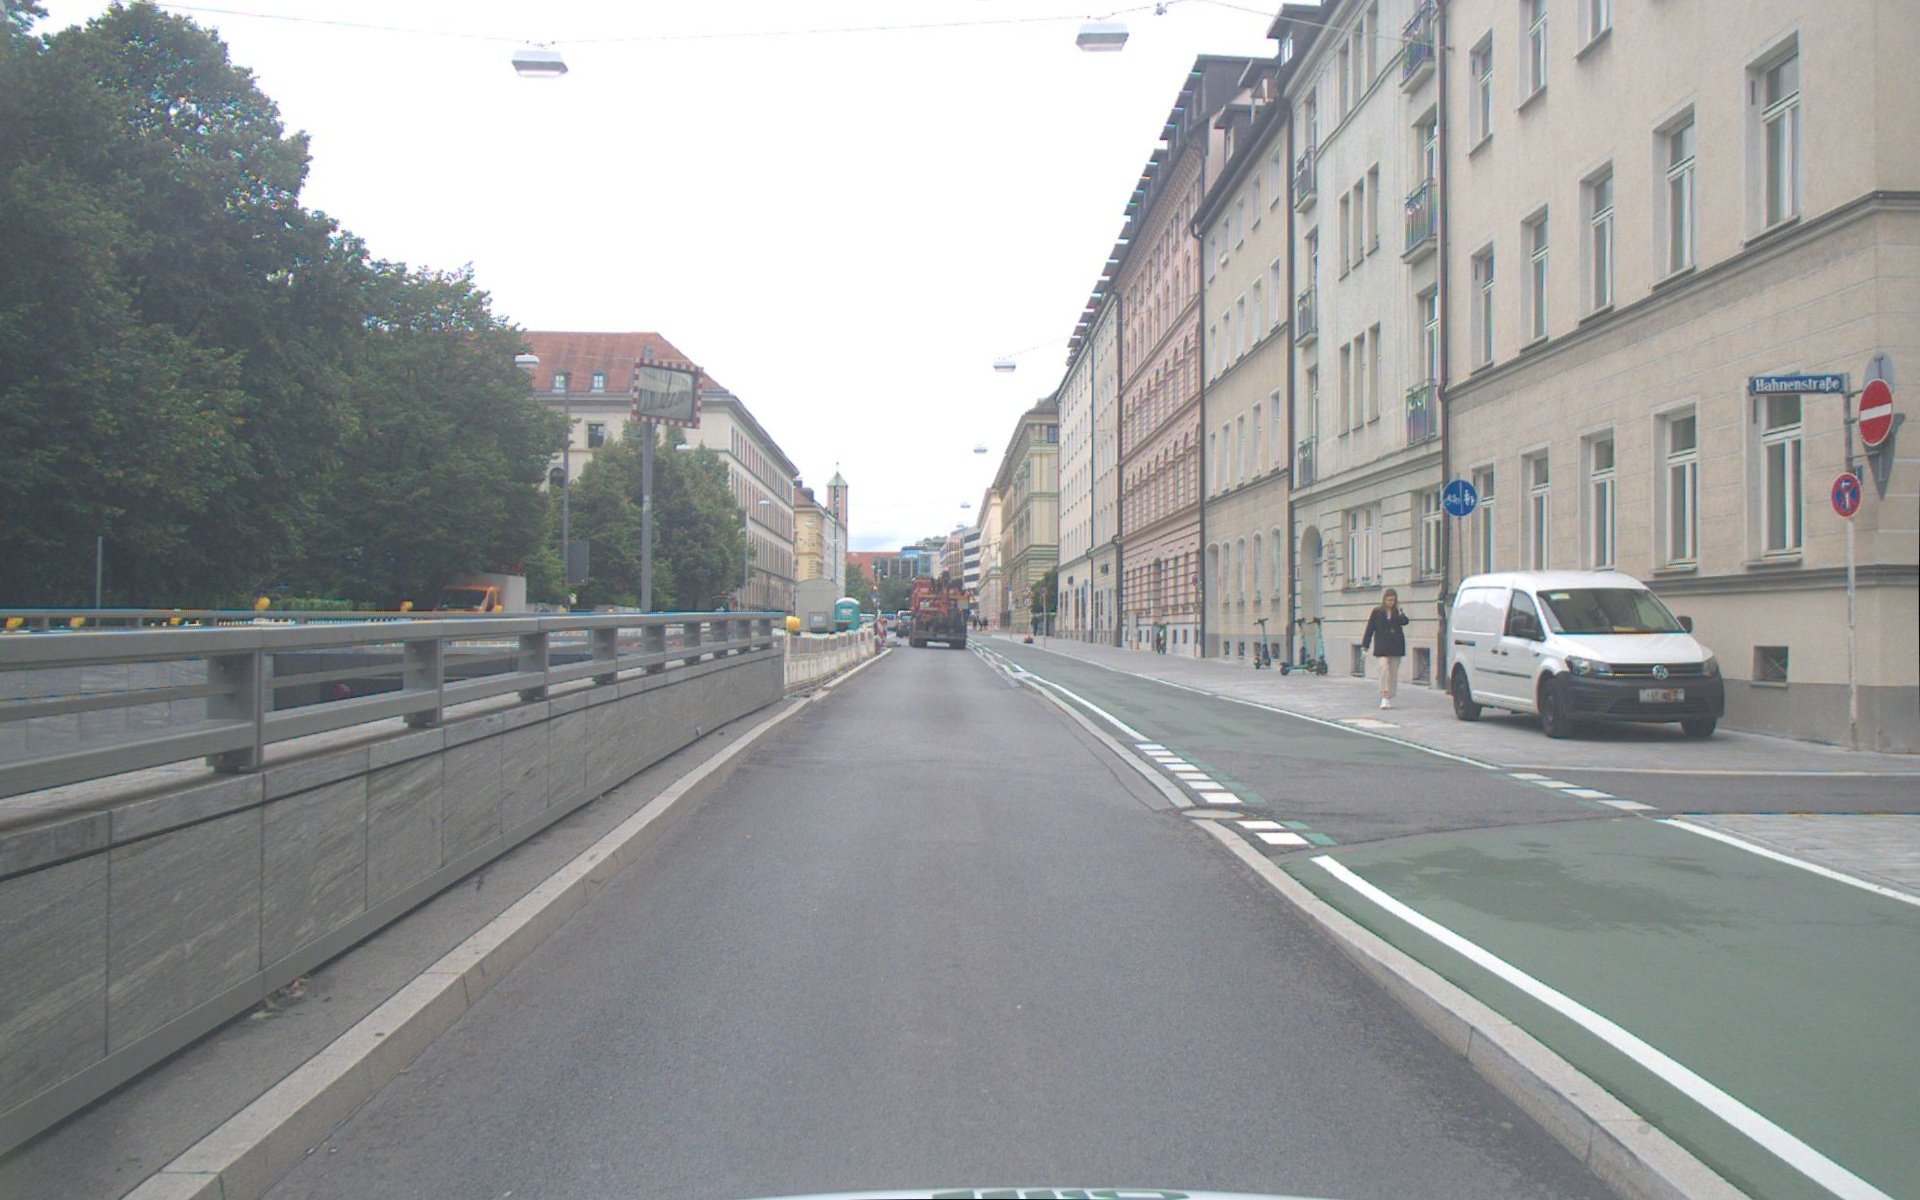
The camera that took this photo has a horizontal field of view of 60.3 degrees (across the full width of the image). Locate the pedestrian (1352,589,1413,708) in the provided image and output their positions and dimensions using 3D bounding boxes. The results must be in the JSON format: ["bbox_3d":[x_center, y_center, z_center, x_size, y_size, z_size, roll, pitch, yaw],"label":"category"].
[{"bbox_3d":[6.032,0.681,23.647,0.651,1.664,0.737,-1,-1,-1],"label":"pedestrian"}]

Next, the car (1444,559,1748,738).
[{"bbox_3d":[7.076,0.501,18.922,1.698,1.780,4.434,-1,0,-1],"label":"car"}]

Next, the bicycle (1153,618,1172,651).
[{"bbox_3d":[7.456,1.250,60.756,0.417,1.195,1.732,-1,-1,16],"label":"bicycle"}]

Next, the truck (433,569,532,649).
[{"bbox_3d":[-17.487,0.341,60.890,1.953,2.776,5.869,1,-1,0],"label":"truck"}]

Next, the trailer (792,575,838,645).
[{"bbox_3d":[-7.277,0.516,82.443,2.184,3.300,7.509,0,-1,-6],"label":"trailer"}]

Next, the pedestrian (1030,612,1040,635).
[{"bbox_3d":[6.042,1.903,132.916,0.774,1.868,0.777,0,-1,0],"label":"pedestrian"}]

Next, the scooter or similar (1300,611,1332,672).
[{"bbox_3d":[7.764,0.905,36.072,0.379,1.295,1.119,-2,-1,-2],"label":"scooter or similar"}]

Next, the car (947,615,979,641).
[{"bbox_3d":[0.137,1.661,99.413,1.765,1.506,4.685,0,-1,-2],"label":"car"}]

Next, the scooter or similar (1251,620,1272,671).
[{"bbox_3d":[7.616,1.138,41.755,0.241,1.252,1.119,-2,-1,24],"label":"scooter or similar"}]

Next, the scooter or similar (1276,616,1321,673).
[{"bbox_3d":[7.615,0.996,37.197,1.106,1.252,0.244,-1,-2,-35],"label":"scooter or similar"}]

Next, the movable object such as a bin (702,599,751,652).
[{"bbox_3d":[-12.155,1.316,86.285,1.884,2.617,4.492,1,0,0],"label":"movable object such as a bin"}]

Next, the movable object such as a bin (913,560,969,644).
[{"bbox_3d":[-0.906,0.141,75.954,2.374,3.675,5.848,1,-1,-2],"label":"movable object such as a bin"}]

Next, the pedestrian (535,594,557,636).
[{"bbox_3d":[-16.337,0.594,65.272,0.649,1.631,0.698,1,-1,0],"label":"pedestrian"}]
